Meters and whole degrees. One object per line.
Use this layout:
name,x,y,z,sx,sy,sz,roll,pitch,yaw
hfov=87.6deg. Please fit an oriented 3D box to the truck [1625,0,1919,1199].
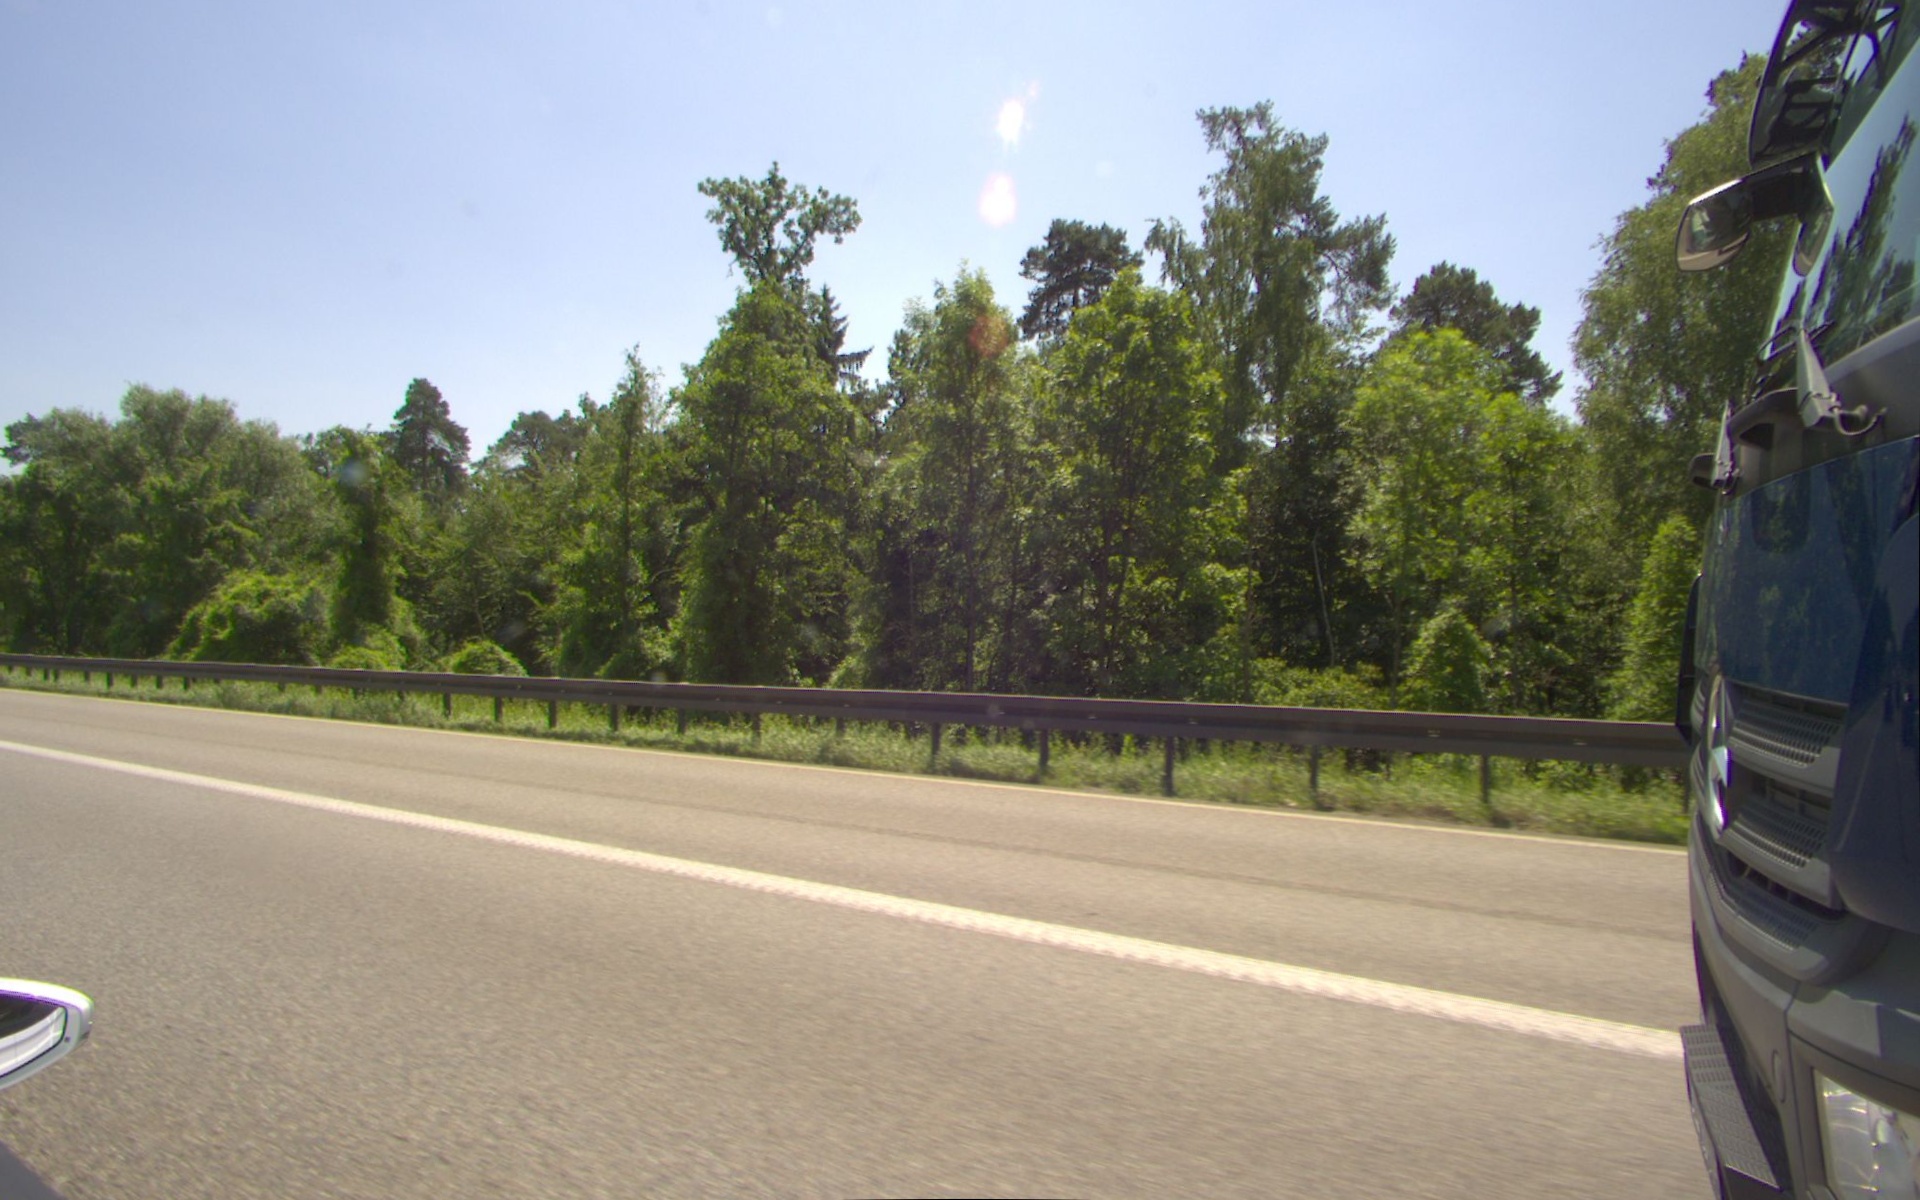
truck,3.205,-0.015,1.067,4.047,2.978,2.550,-2,-1,33
